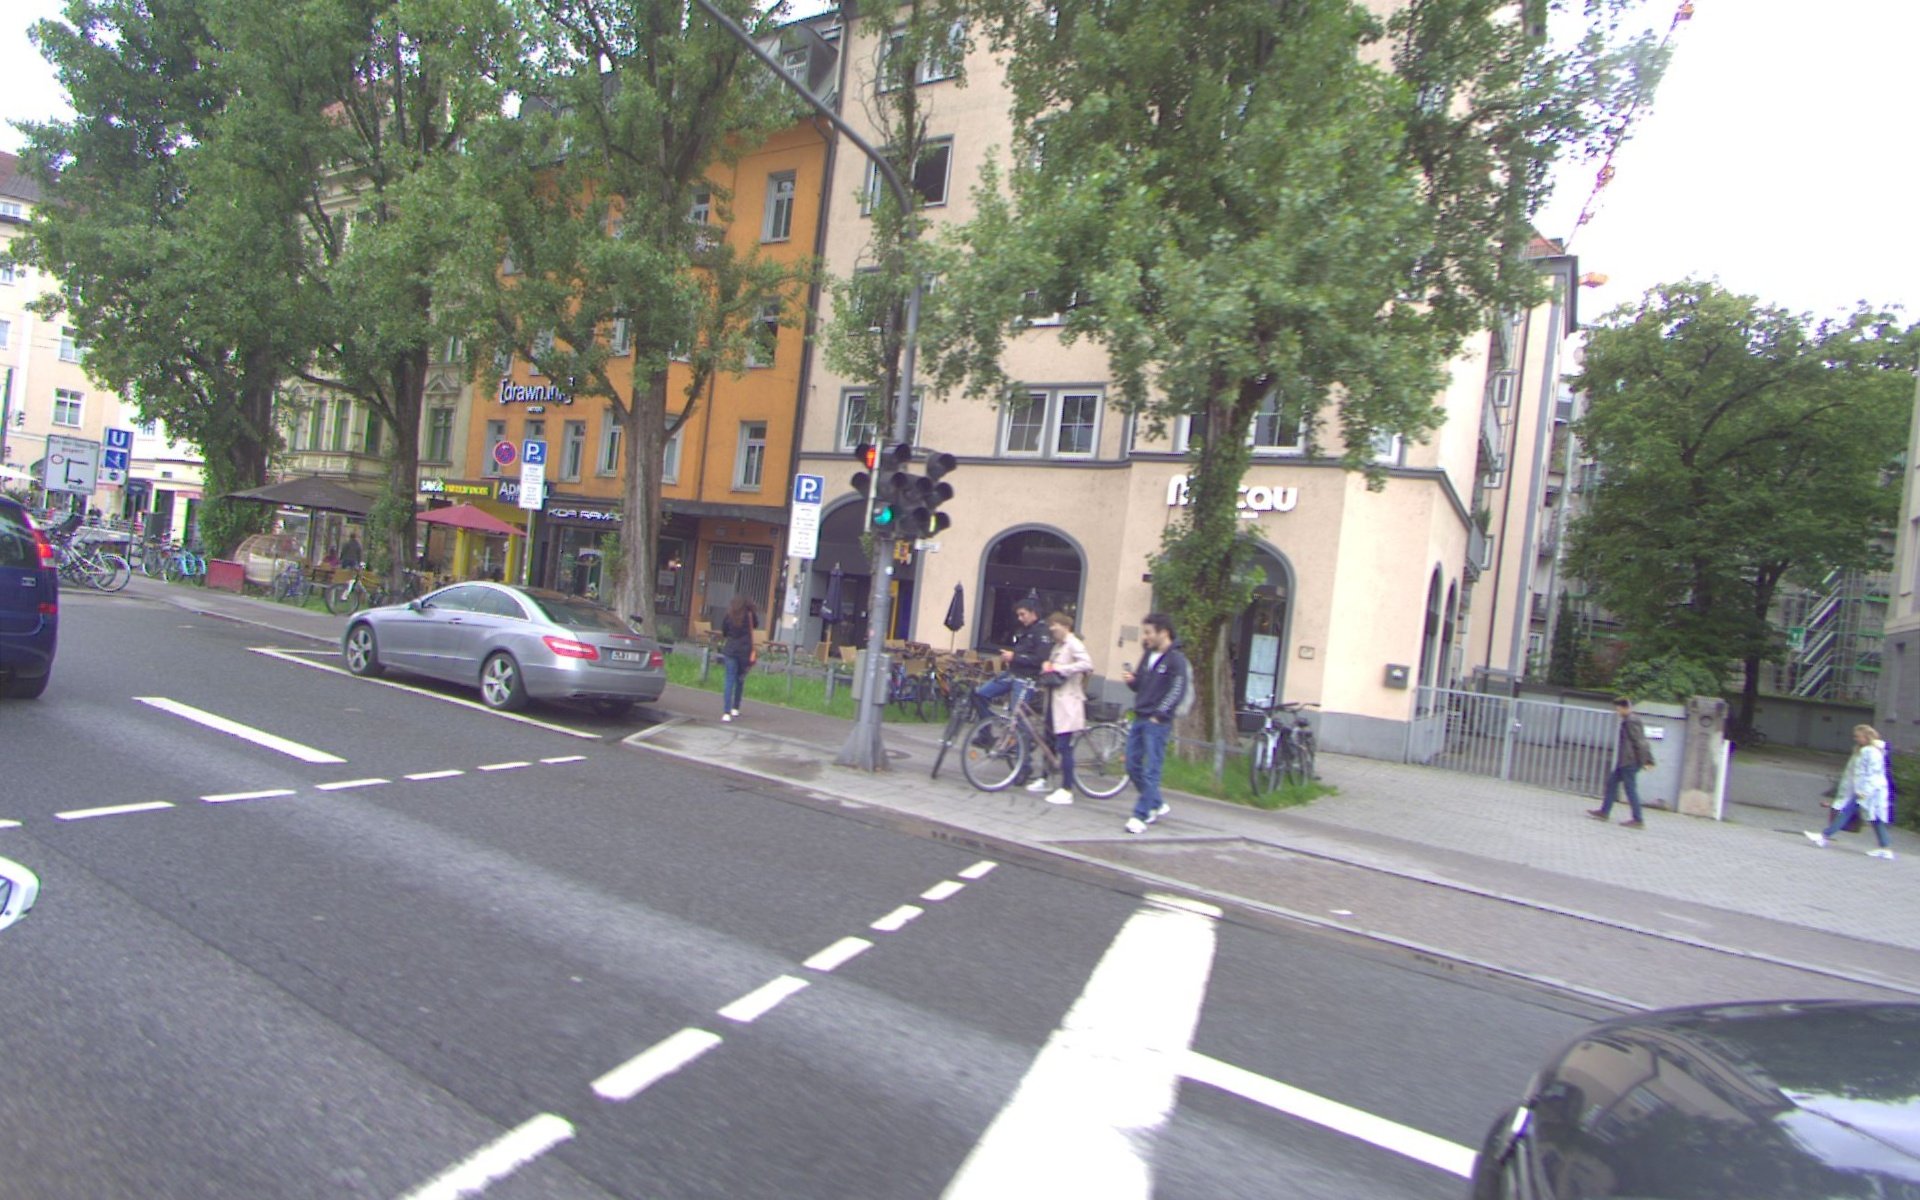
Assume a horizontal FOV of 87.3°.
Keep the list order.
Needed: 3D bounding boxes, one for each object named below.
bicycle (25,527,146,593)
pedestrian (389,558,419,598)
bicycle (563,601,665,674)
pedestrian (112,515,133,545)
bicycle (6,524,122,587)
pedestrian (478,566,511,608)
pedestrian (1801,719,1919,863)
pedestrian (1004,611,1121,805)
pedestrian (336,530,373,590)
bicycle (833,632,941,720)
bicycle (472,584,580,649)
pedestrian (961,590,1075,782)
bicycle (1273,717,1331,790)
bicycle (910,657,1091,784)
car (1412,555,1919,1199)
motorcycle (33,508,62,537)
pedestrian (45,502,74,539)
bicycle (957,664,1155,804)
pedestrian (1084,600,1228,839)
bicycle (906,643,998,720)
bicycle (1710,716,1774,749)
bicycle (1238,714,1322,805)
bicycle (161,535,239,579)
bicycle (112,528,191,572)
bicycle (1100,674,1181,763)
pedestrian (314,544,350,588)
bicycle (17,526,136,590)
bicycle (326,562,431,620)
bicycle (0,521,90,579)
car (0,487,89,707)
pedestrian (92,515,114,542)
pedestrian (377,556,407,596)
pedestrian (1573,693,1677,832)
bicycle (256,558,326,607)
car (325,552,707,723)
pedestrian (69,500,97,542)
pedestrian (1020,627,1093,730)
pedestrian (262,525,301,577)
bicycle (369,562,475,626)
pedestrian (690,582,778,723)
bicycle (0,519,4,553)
[{"bbox_3d":[-17.349,-0.784,19.978,1.811,1.008,0.375,9,0,-8],"label":"bicycle"},{"bbox_3d":[-19.215,-0.762,34.792,0.573,1.296,0.584,7,0,31],"label":"pedestrian"},{"bbox_3d":[-5.633,0.607,16.344,1.626,0.977,0.590,7,0,32],"label":"bicycle"},{"bbox_3d":[-39.010,-3.244,46.860,0.518,1.315,0.479,7,0,30],"label":"pedestrian"},{"bbox_3d":[-18.478,-0.909,20.768,1.811,1.008,0.375,9,0,-8],"label":"bicycle"},{"bbox_3d":[-14.723,-0.409,31.799,0.573,1.233,0.623,7,0,31],"label":"pedestrian"},{"bbox_3d":[12.425,2.594,13.873,1.000,1.735,0.747,7,0,32],"label":"pedestrian"},{"bbox_3d":[0.939,0.981,9.400,0.690,1.657,0.754,8,0,-11],"label":"pedestrian"},{"bbox_3d":[-18.929,-1.246,31.461,0.655,1.761,0.601,7,1,32],"label":"pedestrian"},{"bbox_3d":[-1.025,1.127,14.604,0.440,1.122,1.801,7,-3,33],"label":"bicycle"},{"bbox_3d":[-8.089,0.334,18.834,0.450,1.066,1.891,7,-1,29],"label":"bicycle"},{"bbox_3d":[0.576,0.850,10.088,0.693,1.802,0.647,8,0,-25],"label":"pedestrian"},{"bbox_3d":[4.541,2.005,13.314,0.385,0.845,1.576,6,-2,29],"label":"bicycle"},{"bbox_3d":[0.424,1.216,10.052,1.722,1.116,0.357,7,0,-24],"label":"bicycle"},{"bbox_3d":[2.975,1.060,0.781,4.631,1.667,1.773,7,0,33],"label":"car"},{"bbox_3d":[-41.144,-3.484,45.369,1.545,1.170,0.487,6,0,32],"label":"motorcycle"},{"bbox_3d":[-37.977,-3.368,42.428,0.606,1.440,0.676,7,0,32],"label":"pedestrian"},{"bbox_3d":[0.899,1.254,9.414,1.717,1.116,0.358,7,1,-13],"label":"bicycle"},{"bbox_3d":[1.676,0.984,8.524,0.743,1.823,0.881,8,0,28],"label":"pedestrian"},{"bbox_3d":[-0.104,1.331,16.163,0.440,1.123,1.800,7,-1,33],"label":"bicycle"},{"bbox_3d":[35.239,5.961,45.366,2.092,1.137,0.815,7,0,32],"label":"bicycle"},{"bbox_3d":[3.756,1.820,11.721,0.386,0.927,1.836,6,-2,33],"label":"bicycle"},{"bbox_3d":[-22.629,-1.278,29.991,0.382,1.058,1.720,8,0,42],"label":"bicycle"},{"bbox_3d":[-23.810,-1.464,29.653,0.380,1.058,1.727,8,0,25],"label":"bicycle"},{"bbox_3d":[2.415,1.569,13.353,0.386,1.062,1.574,6,-2,33],"label":"bicycle"},{"bbox_3d":[-19.318,-1.053,30.958,0.655,1.237,0.601,7,0,32],"label":"pedestrian"},{"bbox_3d":[-17.856,-0.839,20.352,1.811,1.008,0.375,9,0,-8],"label":"bicycle"},{"bbox_3d":[-12.596,-0.180,21.837,0.451,1.066,1.889,7,-1,33],"label":"bicycle"},{"bbox_3d":[-20.217,-1.107,21.913,1.817,1.007,0.373,9,0,-20],"label":"bicycle"},{"bbox_3d":[-8.734,-0.229,7.969,3.497,1.608,1.706,7,-2,32],"label":"car"},{"bbox_3d":[-40.700,-3.408,47.792,0.691,1.196,0.515,7,0,30],"label":"pedestrian"},{"bbox_3d":[-19.902,-0.840,35.243,0.573,1.296,0.584,7,0,31],"label":"pedestrian"},{"bbox_3d":[9.189,2.216,13.945,1.000,1.706,0.747,7,0,32],"label":"pedestrian"},{"bbox_3d":[-14.822,-0.392,22.278,1.862,0.903,0.457,7,0,31],"label":"bicycle"},{"bbox_3d":[-5.564,0.408,12.493,4.452,1.458,1.997,7,0,30],"label":"car"},{"bbox_3d":[-37.066,-3.339,42.517,0.666,1.653,0.615,7,0,32],"label":"pedestrian"},{"bbox_3d":[1.652,1.335,17.298,0.836,1.622,0.820,6,0,-17],"label":"pedestrian"},{"bbox_3d":[-23.202,-1.666,34.406,0.773,1.653,0.711,7,0,32],"label":"pedestrian"},{"bbox_3d":[-11.628,-0.110,21.821,0.573,1.188,1.889,7,-1,33],"label":"bicycle"},{"bbox_3d":[-2.756,0.630,12.337,0.748,1.582,0.762,7,0,-3],"label":"pedestrian"},{"bbox_3d":[-24.974,-1.649,24.990,1.812,1.008,0.324,9,0,-11],"label":"bicycle"}]
